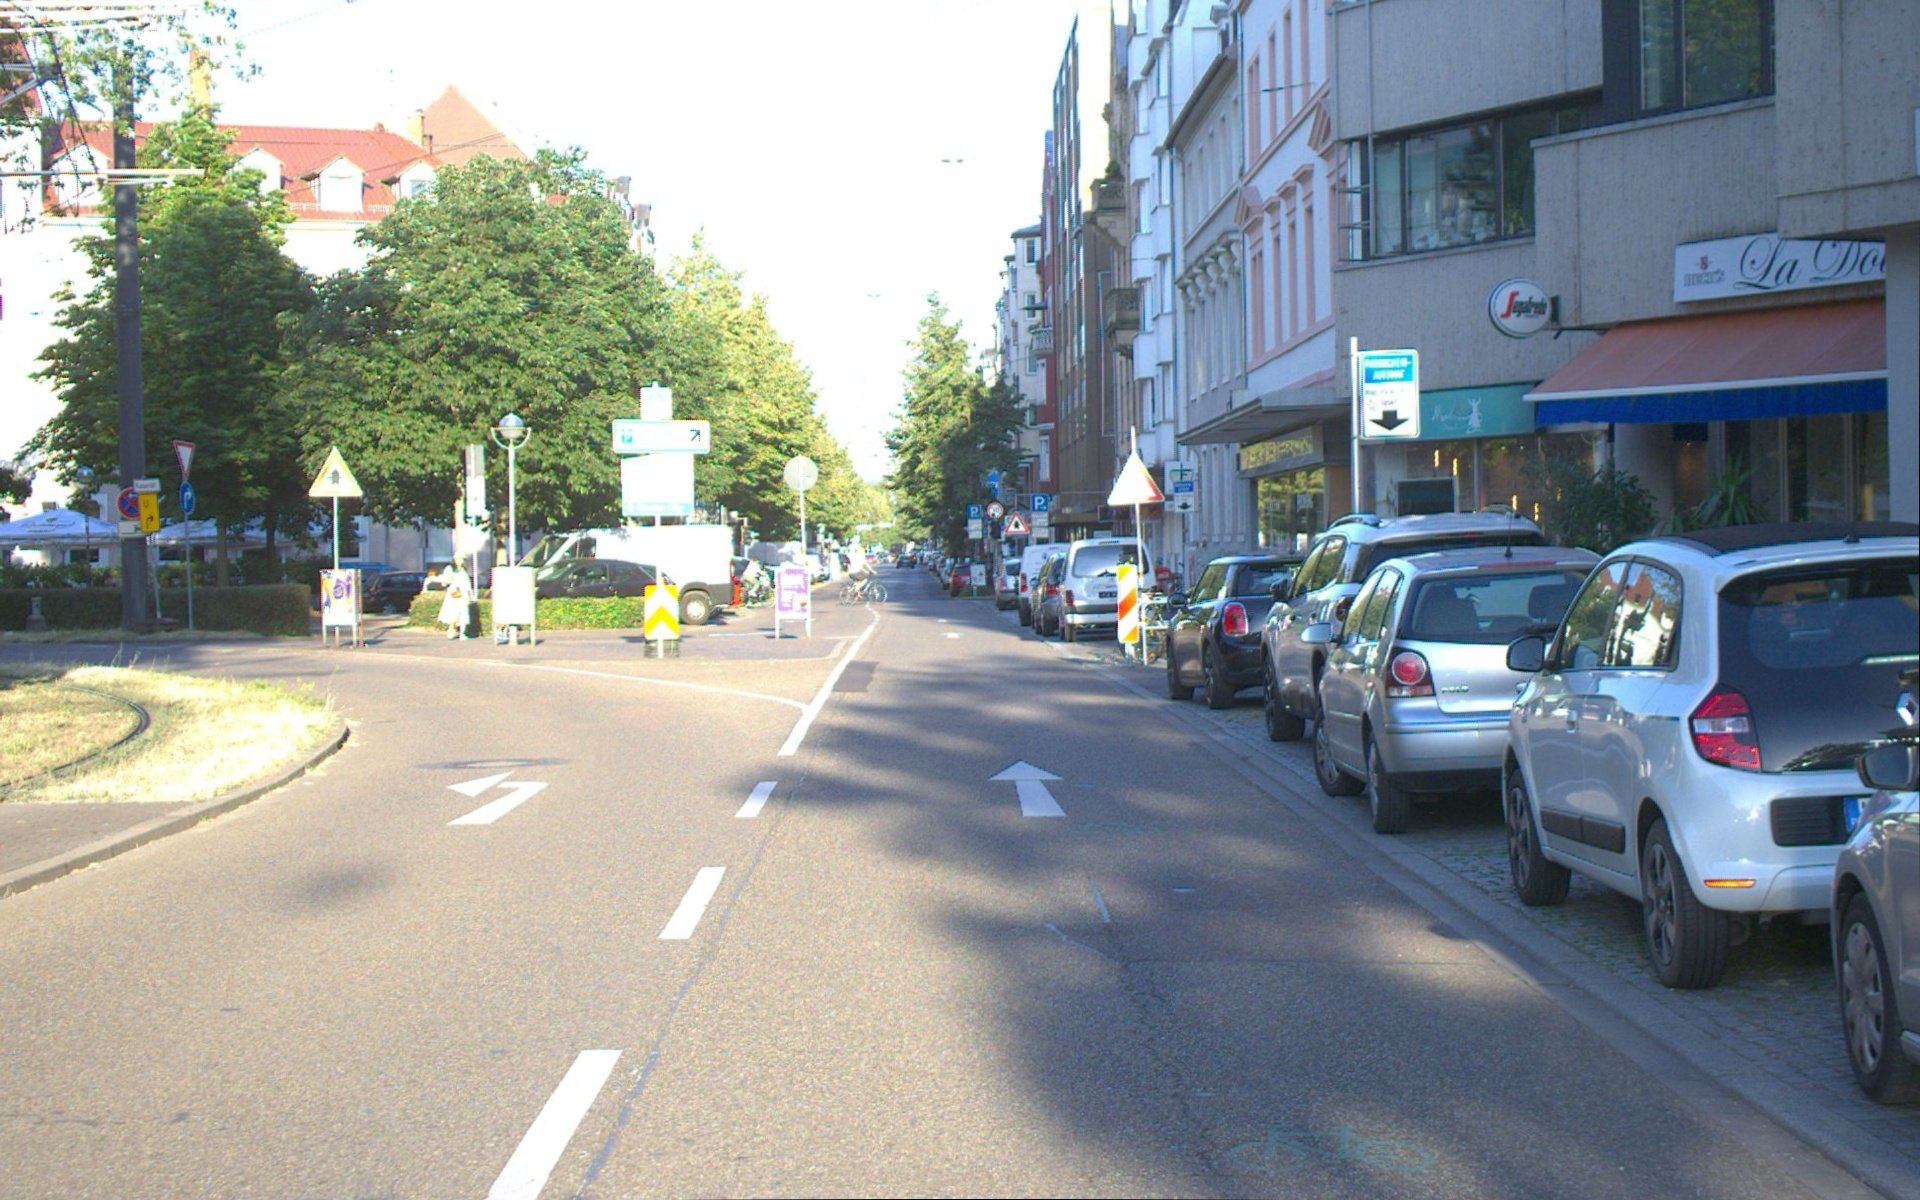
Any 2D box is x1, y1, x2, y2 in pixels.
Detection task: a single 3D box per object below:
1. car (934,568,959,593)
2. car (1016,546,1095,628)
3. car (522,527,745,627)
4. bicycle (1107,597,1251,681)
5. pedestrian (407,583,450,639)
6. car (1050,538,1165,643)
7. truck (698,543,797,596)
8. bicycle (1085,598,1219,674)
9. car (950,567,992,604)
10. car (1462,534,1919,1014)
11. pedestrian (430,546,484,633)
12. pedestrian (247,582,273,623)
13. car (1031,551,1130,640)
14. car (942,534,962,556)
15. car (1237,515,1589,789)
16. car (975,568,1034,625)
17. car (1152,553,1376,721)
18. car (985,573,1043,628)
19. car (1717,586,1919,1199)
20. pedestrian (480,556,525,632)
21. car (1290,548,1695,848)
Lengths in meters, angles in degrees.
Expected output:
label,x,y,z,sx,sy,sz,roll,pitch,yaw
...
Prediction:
label,x,y,z,sx,sy,sz,roll,pitch,yaw
car,-0.747,-1.061,184.544,1.206,1.296,2.661,0,0,-3
car,2.174,-0.313,79.367,1.710,1.829,4.306,0,1,0
car,-7.491,-0.514,78.830,4.598,2.243,2.203,0,0,-27
bicycle,2.907,0.516,45.630,1.788,0.986,0.542,-3,2,11
pedestrian,-12.215,0.244,78.963,0.747,1.273,0.661,0,1,-38
car,2.587,-0.169,61.228,1.792,1.786,4.092,-1,0,-1
truck,-10.807,-1.567,175.125,4.940,2.606,2.000,-1,0,-1
bicycle,2.763,0.523,49.488,1.790,0.986,0.541,-3,2,22
car,0.497,-0.627,152.583,1.576,1.537,3.397,-3,0,-3
car,3.069,0.556,13.233,1.584,1.585,3.668,0,1,-2
pedestrian,-8.976,-0.191,61.299,0.697,1.553,0.694,0,1,-38
pedestrian,-19.895,0.062,97.732,0.579,1.168,0.534,0,0,7
car,2.294,-0.109,66.481,1.656,1.659,4.108,0,1,-2
car,-0.623,-4.033,253.836,1.308,1.594,2.661,-1,1,-3
car,3.163,0.316,24.845,1.783,1.798,4.402,0,1,-2
car,1.420,-0.138,110.630,1.696,1.763,4.000,-1,1,-1
car,2.825,0.306,32.670,1.790,1.502,3.921,0,1,0
car,1.672,0.009,105.553,1.680,1.556,4.000,-2,1,2
car,3.145,0.688,8.286,1.785,1.451,4.000,-1,0,1
pedestrian,-8.191,-0.115,61.571,0.562,1.359,0.614,0,1,-38
car,2.899,0.473,19.470,1.641,1.523,4.000,0,1,0
